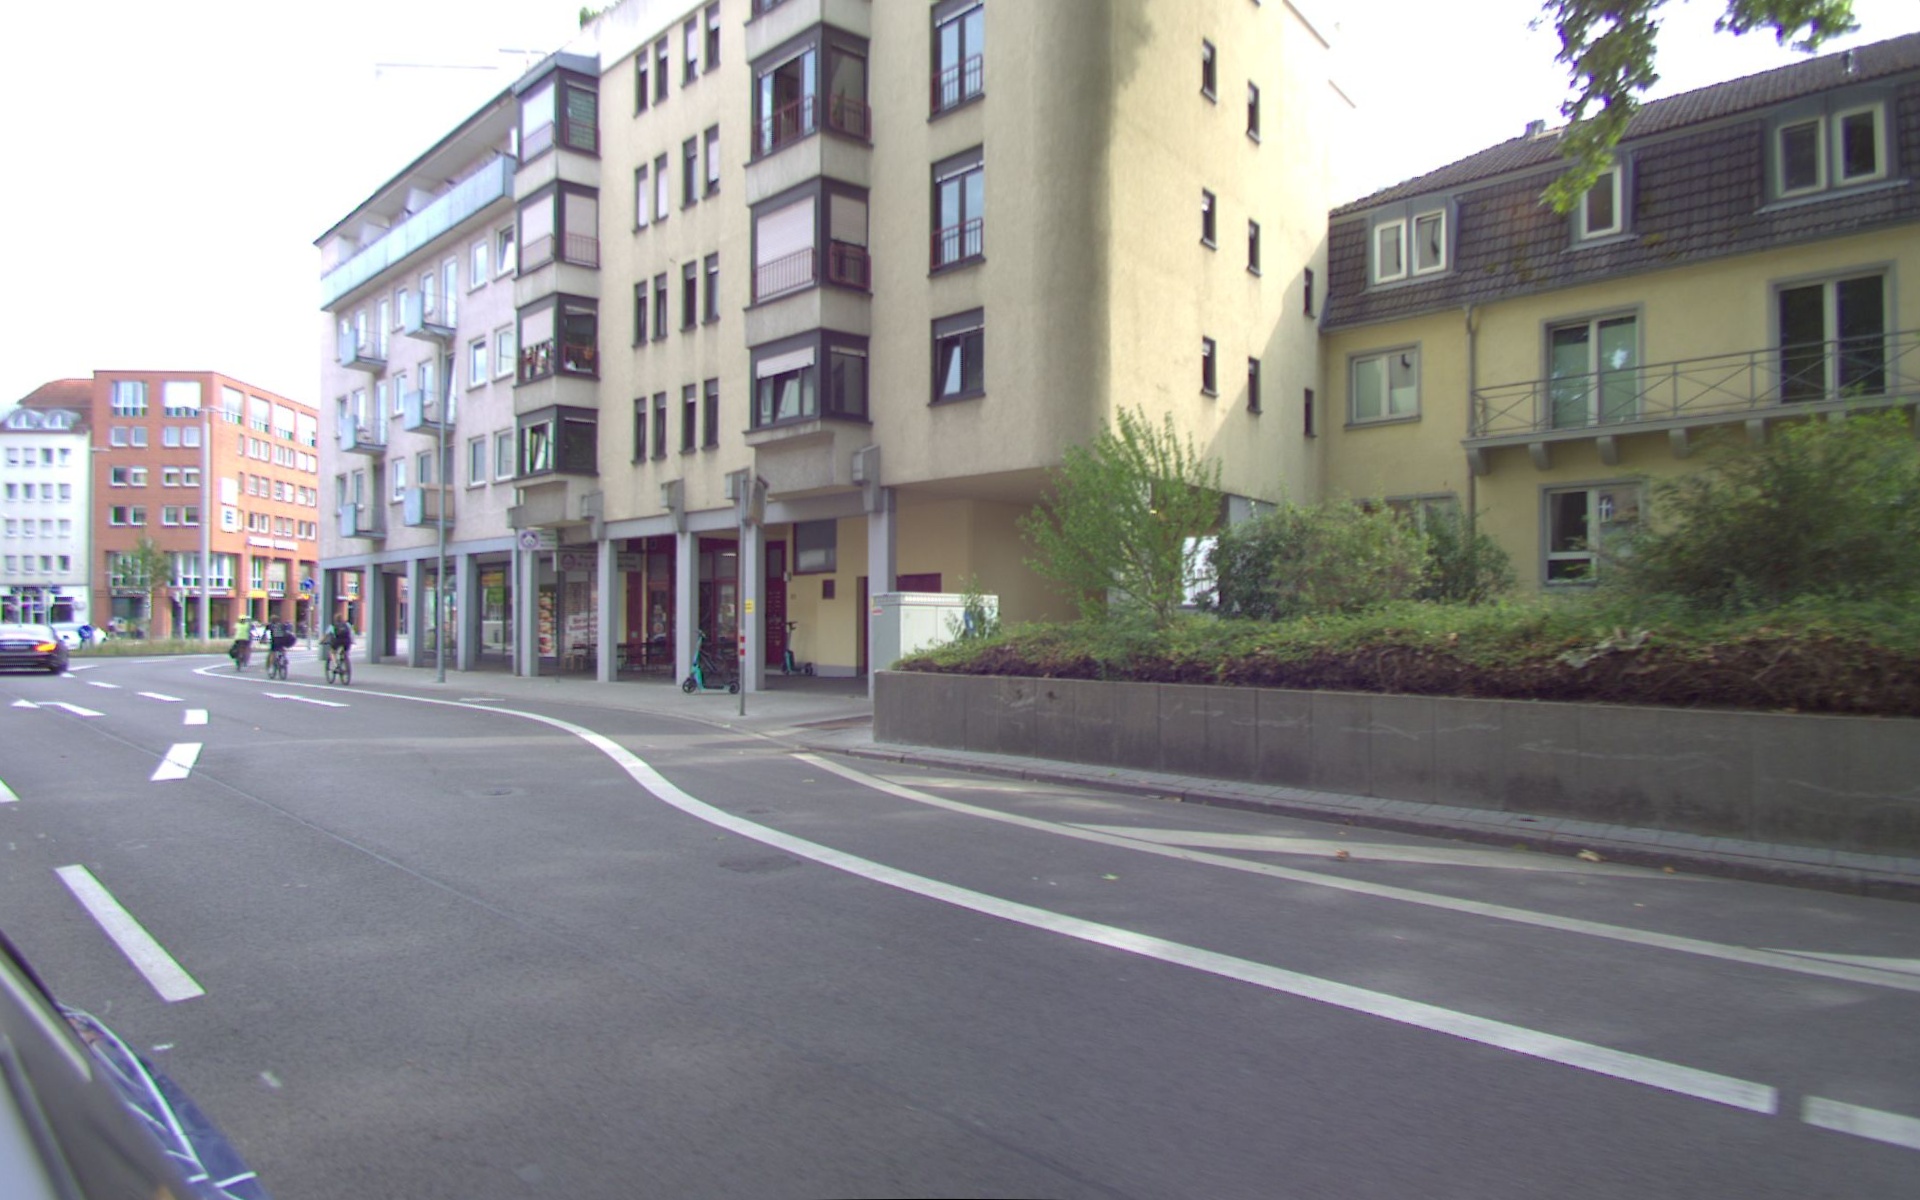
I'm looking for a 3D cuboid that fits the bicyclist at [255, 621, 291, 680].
[{"bbox_3d":[-18.700,1.374,27.544,0.649,1.537,0.857,-1,-2,-44],"label":"bicyclist"}]

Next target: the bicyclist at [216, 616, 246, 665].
[{"bbox_3d":[-23.593,1.317,32.757,0.649,1.537,0.841,-1,-2,-44],"label":"bicyclist"}]

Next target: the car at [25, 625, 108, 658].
[{"bbox_3d":[-45.659,2.104,51.824,1.925,1.613,4.013,0,-1,-22],"label":"car"}]

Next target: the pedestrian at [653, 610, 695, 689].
[{"bbox_3d":[-6.603,1.137,23.353,0.784,1.770,0.575,-1,0,41],"label":"pedestrian"}]

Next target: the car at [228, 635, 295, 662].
[{"bbox_3d":[-52.255,3.625,75.795,1.978,1.893,3.987,-1,-1,10],"label":"car"}]

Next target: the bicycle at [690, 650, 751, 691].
[{"bbox_3d":[-5.135,1.495,21.673,1.618,0.827,0.424,-1,-2,42],"label":"bicycle"}]

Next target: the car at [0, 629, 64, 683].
[{"bbox_3d":[-26.728,1.584,28.524,4.609,1.418,1.790,-4,-3,43],"label":"car"}]

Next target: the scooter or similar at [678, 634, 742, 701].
[{"bbox_3d":[-4.819,1.295,19.540,1.162,1.274,0.286,0,-2,5],"label":"scooter or similar"}]

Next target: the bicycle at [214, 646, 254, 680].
[{"bbox_3d":[-23.427,2.016,32.639,0.729,1.014,2.253,-1,-2,-44],"label":"bicycle"}]

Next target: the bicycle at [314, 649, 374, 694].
[{"bbox_3d":[-15.078,1.726,24.762,2.196,1.014,0.729,-3,-2,45],"label":"bicycle"}]

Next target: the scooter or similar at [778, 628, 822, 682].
[{"bbox_3d":[-3.676,1.254,23.198,1.175,1.211,0.283,-1,-2,38],"label":"scooter or similar"}]

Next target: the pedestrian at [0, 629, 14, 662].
[{"bbox_3d":[-59.164,2.811,62.680,0.710,1.986,1.015,4,-5,-40],"label":"pedestrian"}]

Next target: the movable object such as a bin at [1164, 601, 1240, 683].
[{"bbox_3d":[4.773,0.817,19.963,1.065,1.552,1.131,-1,-2,39],"label":"movable object such as a bin"}]

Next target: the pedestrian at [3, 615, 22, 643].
[{"bbox_3d":[-62.411,1.922,66.686,0.560,1.838,0.696,0,-2,-5],"label":"pedestrian"}]

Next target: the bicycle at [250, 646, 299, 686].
[{"bbox_3d":[-18.669,1.783,27.552,1.977,1.014,0.729,-3,-2,45],"label":"bicycle"}]

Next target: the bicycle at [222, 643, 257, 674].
[{"bbox_3d":[-25.783,2.067,36.209,0.729,1.014,1.910,1,-1,-44],"label":"bicycle"}]

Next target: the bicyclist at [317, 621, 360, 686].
[{"bbox_3d":[-15.181,1.304,24.708,0.649,1.537,1.077,-1,-2,-44],"label":"bicyclist"}]

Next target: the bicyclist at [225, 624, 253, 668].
[{"bbox_3d":[-25.687,1.627,36.066,0.649,1.537,1.003,-1,1,-44],"label":"bicyclist"}]

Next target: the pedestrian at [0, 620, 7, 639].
[{"bbox_3d":[-76.270,2.321,80.435,0.628,1.523,0.586,-2,-2,34],"label":"pedestrian"}]
